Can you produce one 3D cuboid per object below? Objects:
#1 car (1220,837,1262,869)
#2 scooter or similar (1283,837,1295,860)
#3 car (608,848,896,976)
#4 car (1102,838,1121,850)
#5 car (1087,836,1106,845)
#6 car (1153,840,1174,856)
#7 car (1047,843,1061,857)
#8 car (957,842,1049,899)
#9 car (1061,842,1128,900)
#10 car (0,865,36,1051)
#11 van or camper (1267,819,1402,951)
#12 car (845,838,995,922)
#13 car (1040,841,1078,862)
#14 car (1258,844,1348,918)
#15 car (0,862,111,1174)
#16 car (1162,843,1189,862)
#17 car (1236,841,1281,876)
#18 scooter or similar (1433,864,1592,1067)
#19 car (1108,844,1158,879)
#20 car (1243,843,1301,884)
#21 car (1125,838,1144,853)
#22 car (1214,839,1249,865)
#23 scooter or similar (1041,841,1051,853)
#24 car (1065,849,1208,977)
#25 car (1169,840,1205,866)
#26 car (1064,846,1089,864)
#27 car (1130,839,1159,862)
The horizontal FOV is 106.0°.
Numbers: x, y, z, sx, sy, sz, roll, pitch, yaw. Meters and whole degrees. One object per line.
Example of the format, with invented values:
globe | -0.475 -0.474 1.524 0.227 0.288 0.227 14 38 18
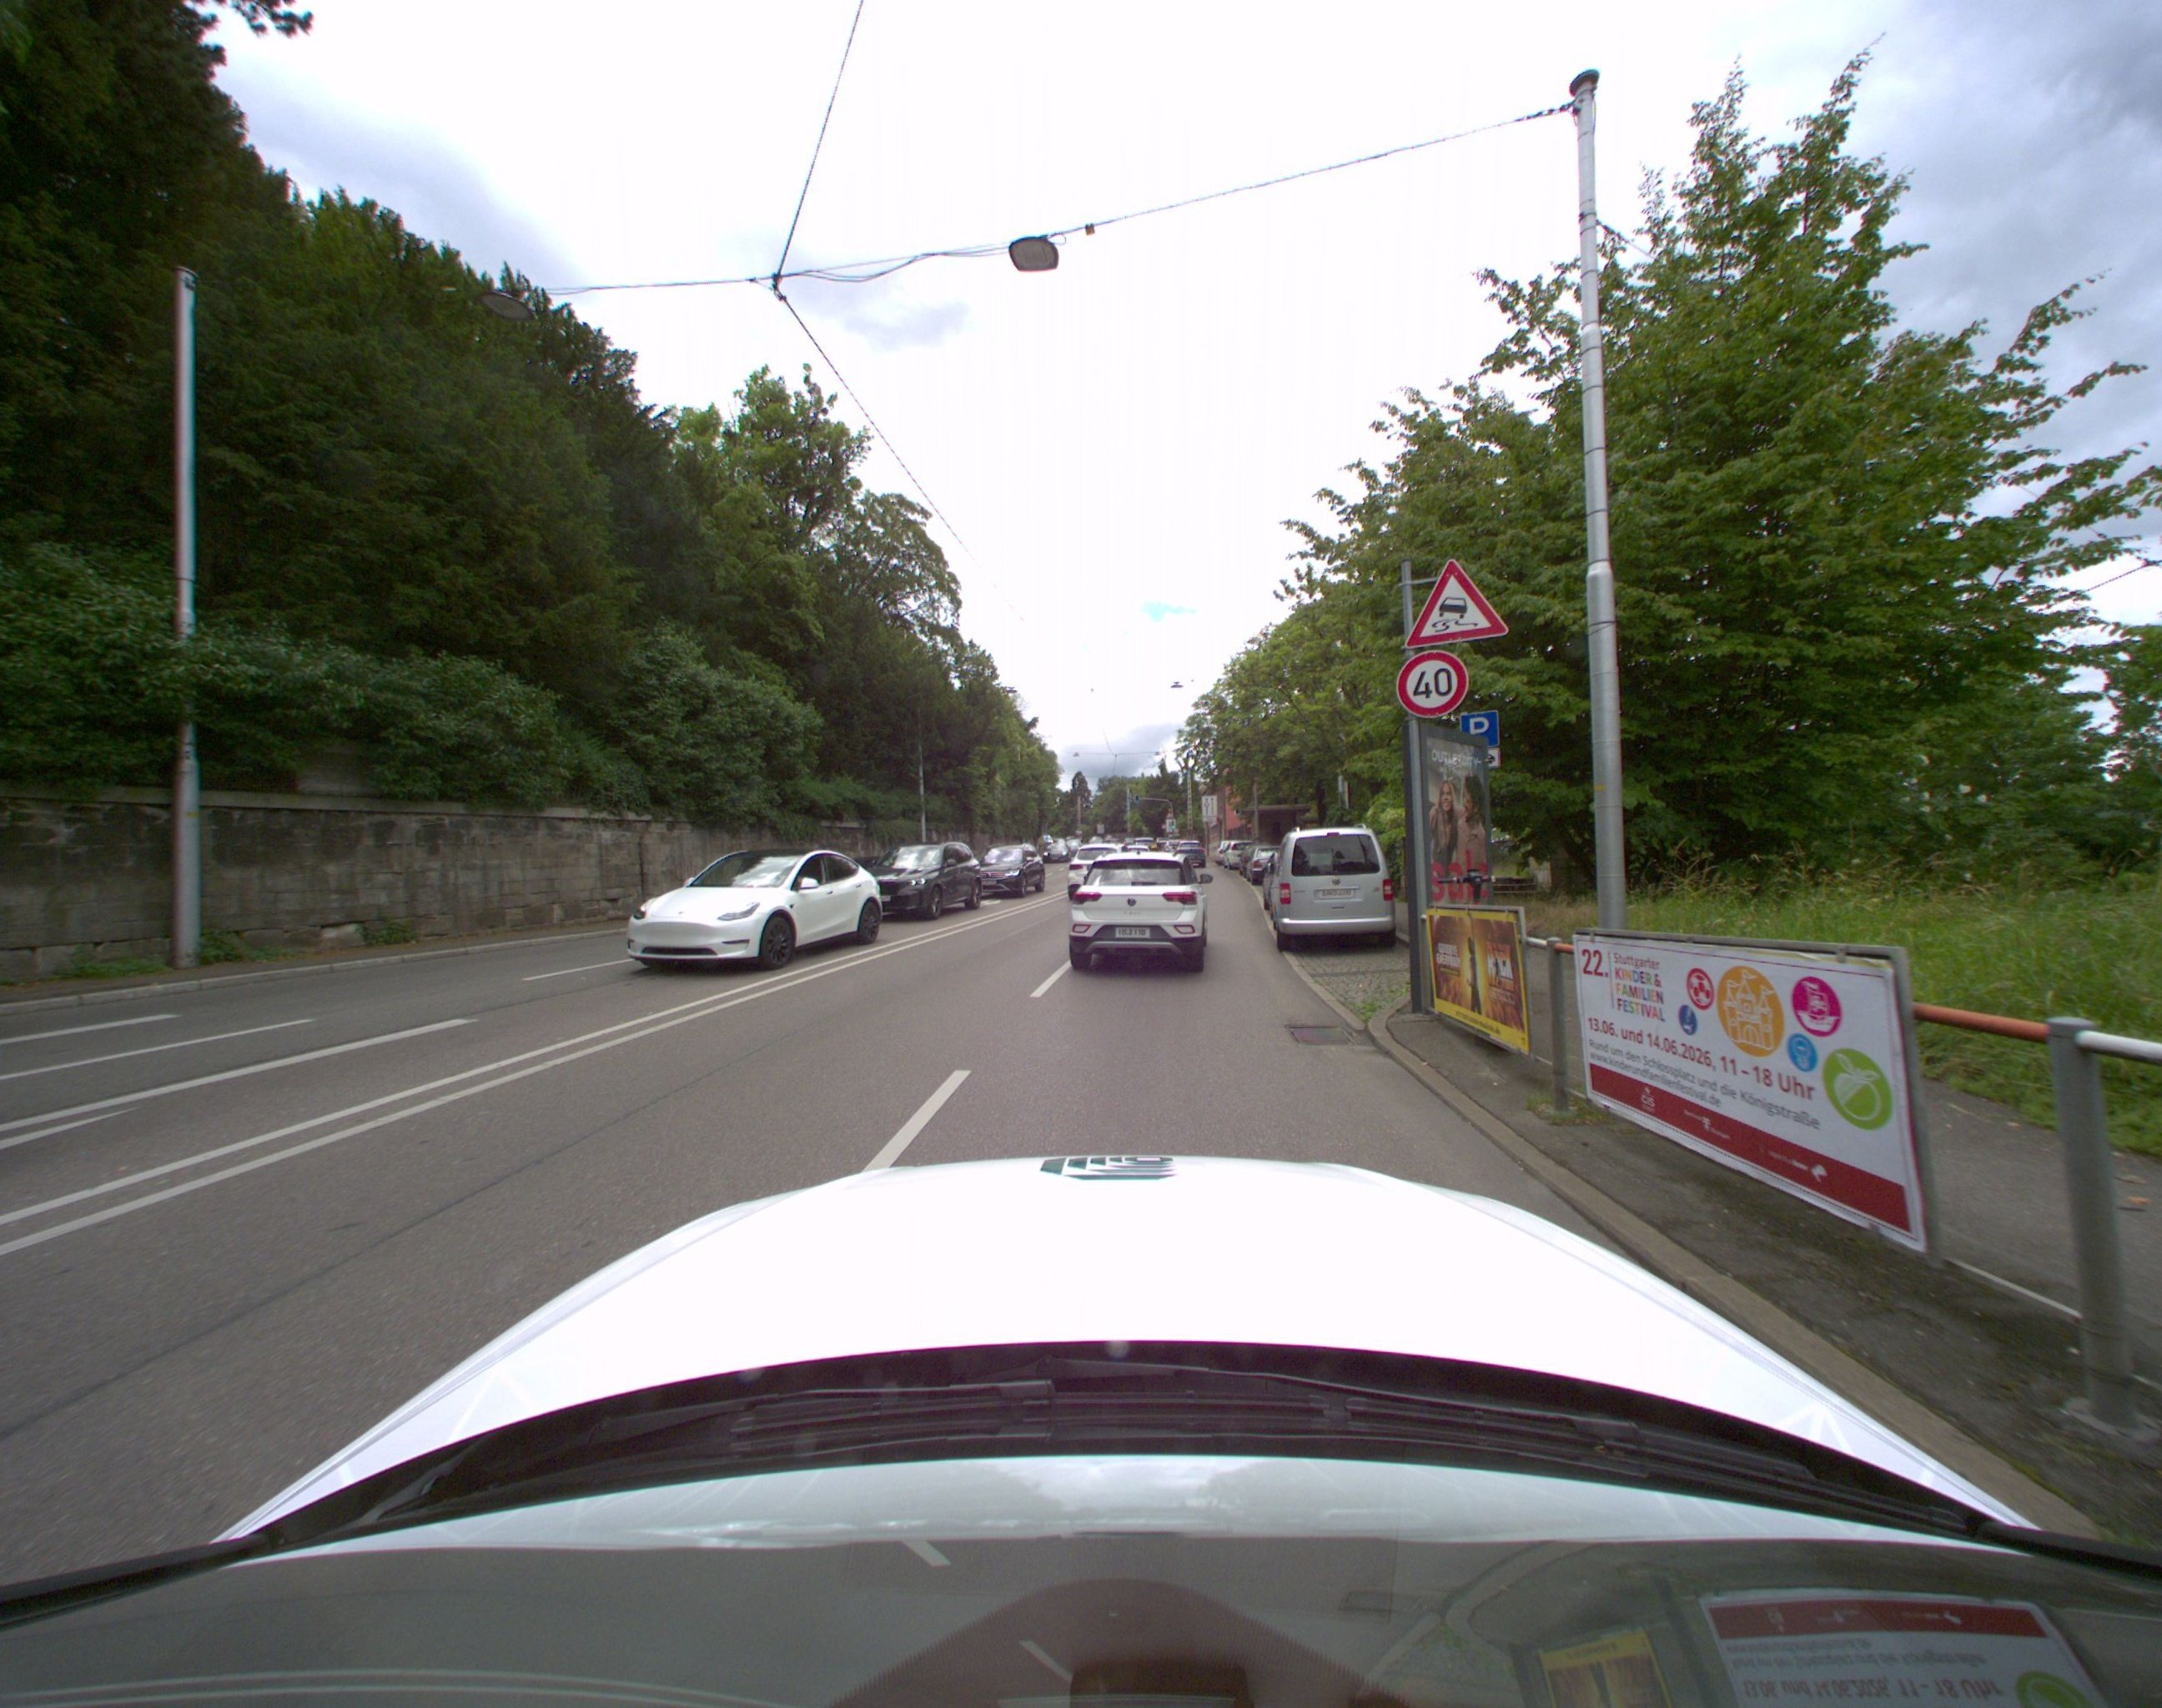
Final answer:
car | 8.663 -0.089 44.270 1.707 1.471 4.044 -5 1 5
scooter or similar | 12.030 -0.324 47.086 0.513 1.260 1.171 -4 1 9
car | -4.645 0.702 12.486 1.826 1.554 4.801 -1 1 9
car | 4.304 -1.432 116.003 1.992 1.575 4.140 -1 0 -7
car | 2.431 -2.113 127.956 1.996 1.450 4.132 -1 0 -13
car | 8.232 -0.598 81.718 1.984 1.450 4.156 -1 0 4
car | -4.239 -0.567 126.086 1.890 1.848 4.387 -4 -3 -5
car | -2.445 0.474 26.758 1.837 1.651 4.636 -3 0 9
car | 0.483 0.472 24.852 1.749 1.609 3.801 1 0 5
car | -9.735 0.832 4.773 1.720 1.452 4.066 0 1 14
van or camper | 4.035 0.433 13.572 1.687 1.845 4.256 -1 0 11
car | -3.735 0.547 19.961 1.948 1.749 4.891 -2 0 10
car | -1.579 -0.205 60.842 1.991 1.409 4.767 -2 0 8
car | 4.991 0.533 18.723 1.587 1.460 3.953 -3 0 10
car | -6.329 0.833 1.911 1.984 1.469 4.886 -2 0 5
car | 7.395 -0.134 64.205 1.984 1.450 4.156 -1 0 5
car | 7.951 0.162 36.708 1.553 1.422 3.431 -4 0 7
scooter or similar | 3.166 0.750 6.119 0.513 1.289 1.490 -3 0 8
car | 2.439 0.315 37.176 1.982 1.489 4.160 -2 0 8
car | 7.241 0.316 31.247 1.760 1.398 4.562 -3 0 9
car | 5.371 -0.854 82.143 1.773 1.454 4.003 0 1 2
car | 9.110 -0.161 49.596 1.667 1.461 4.373 -3 1 6
scooter or similar | -3.966 -0.787 92.665 0.429 1.237 1.104 3 0 44
car | 0.958 0.707 11.933 1.748 1.555 3.804 1 0 8
car | 6.266 -0.070 48.579 1.983 1.414 4.158 -2 0 6
car | -0.359 0.065 74.784 1.833 1.436 4.007 -2 1 6
car | 4.547 -0.303 58.037 1.984 1.556 4.156 0 1 5
